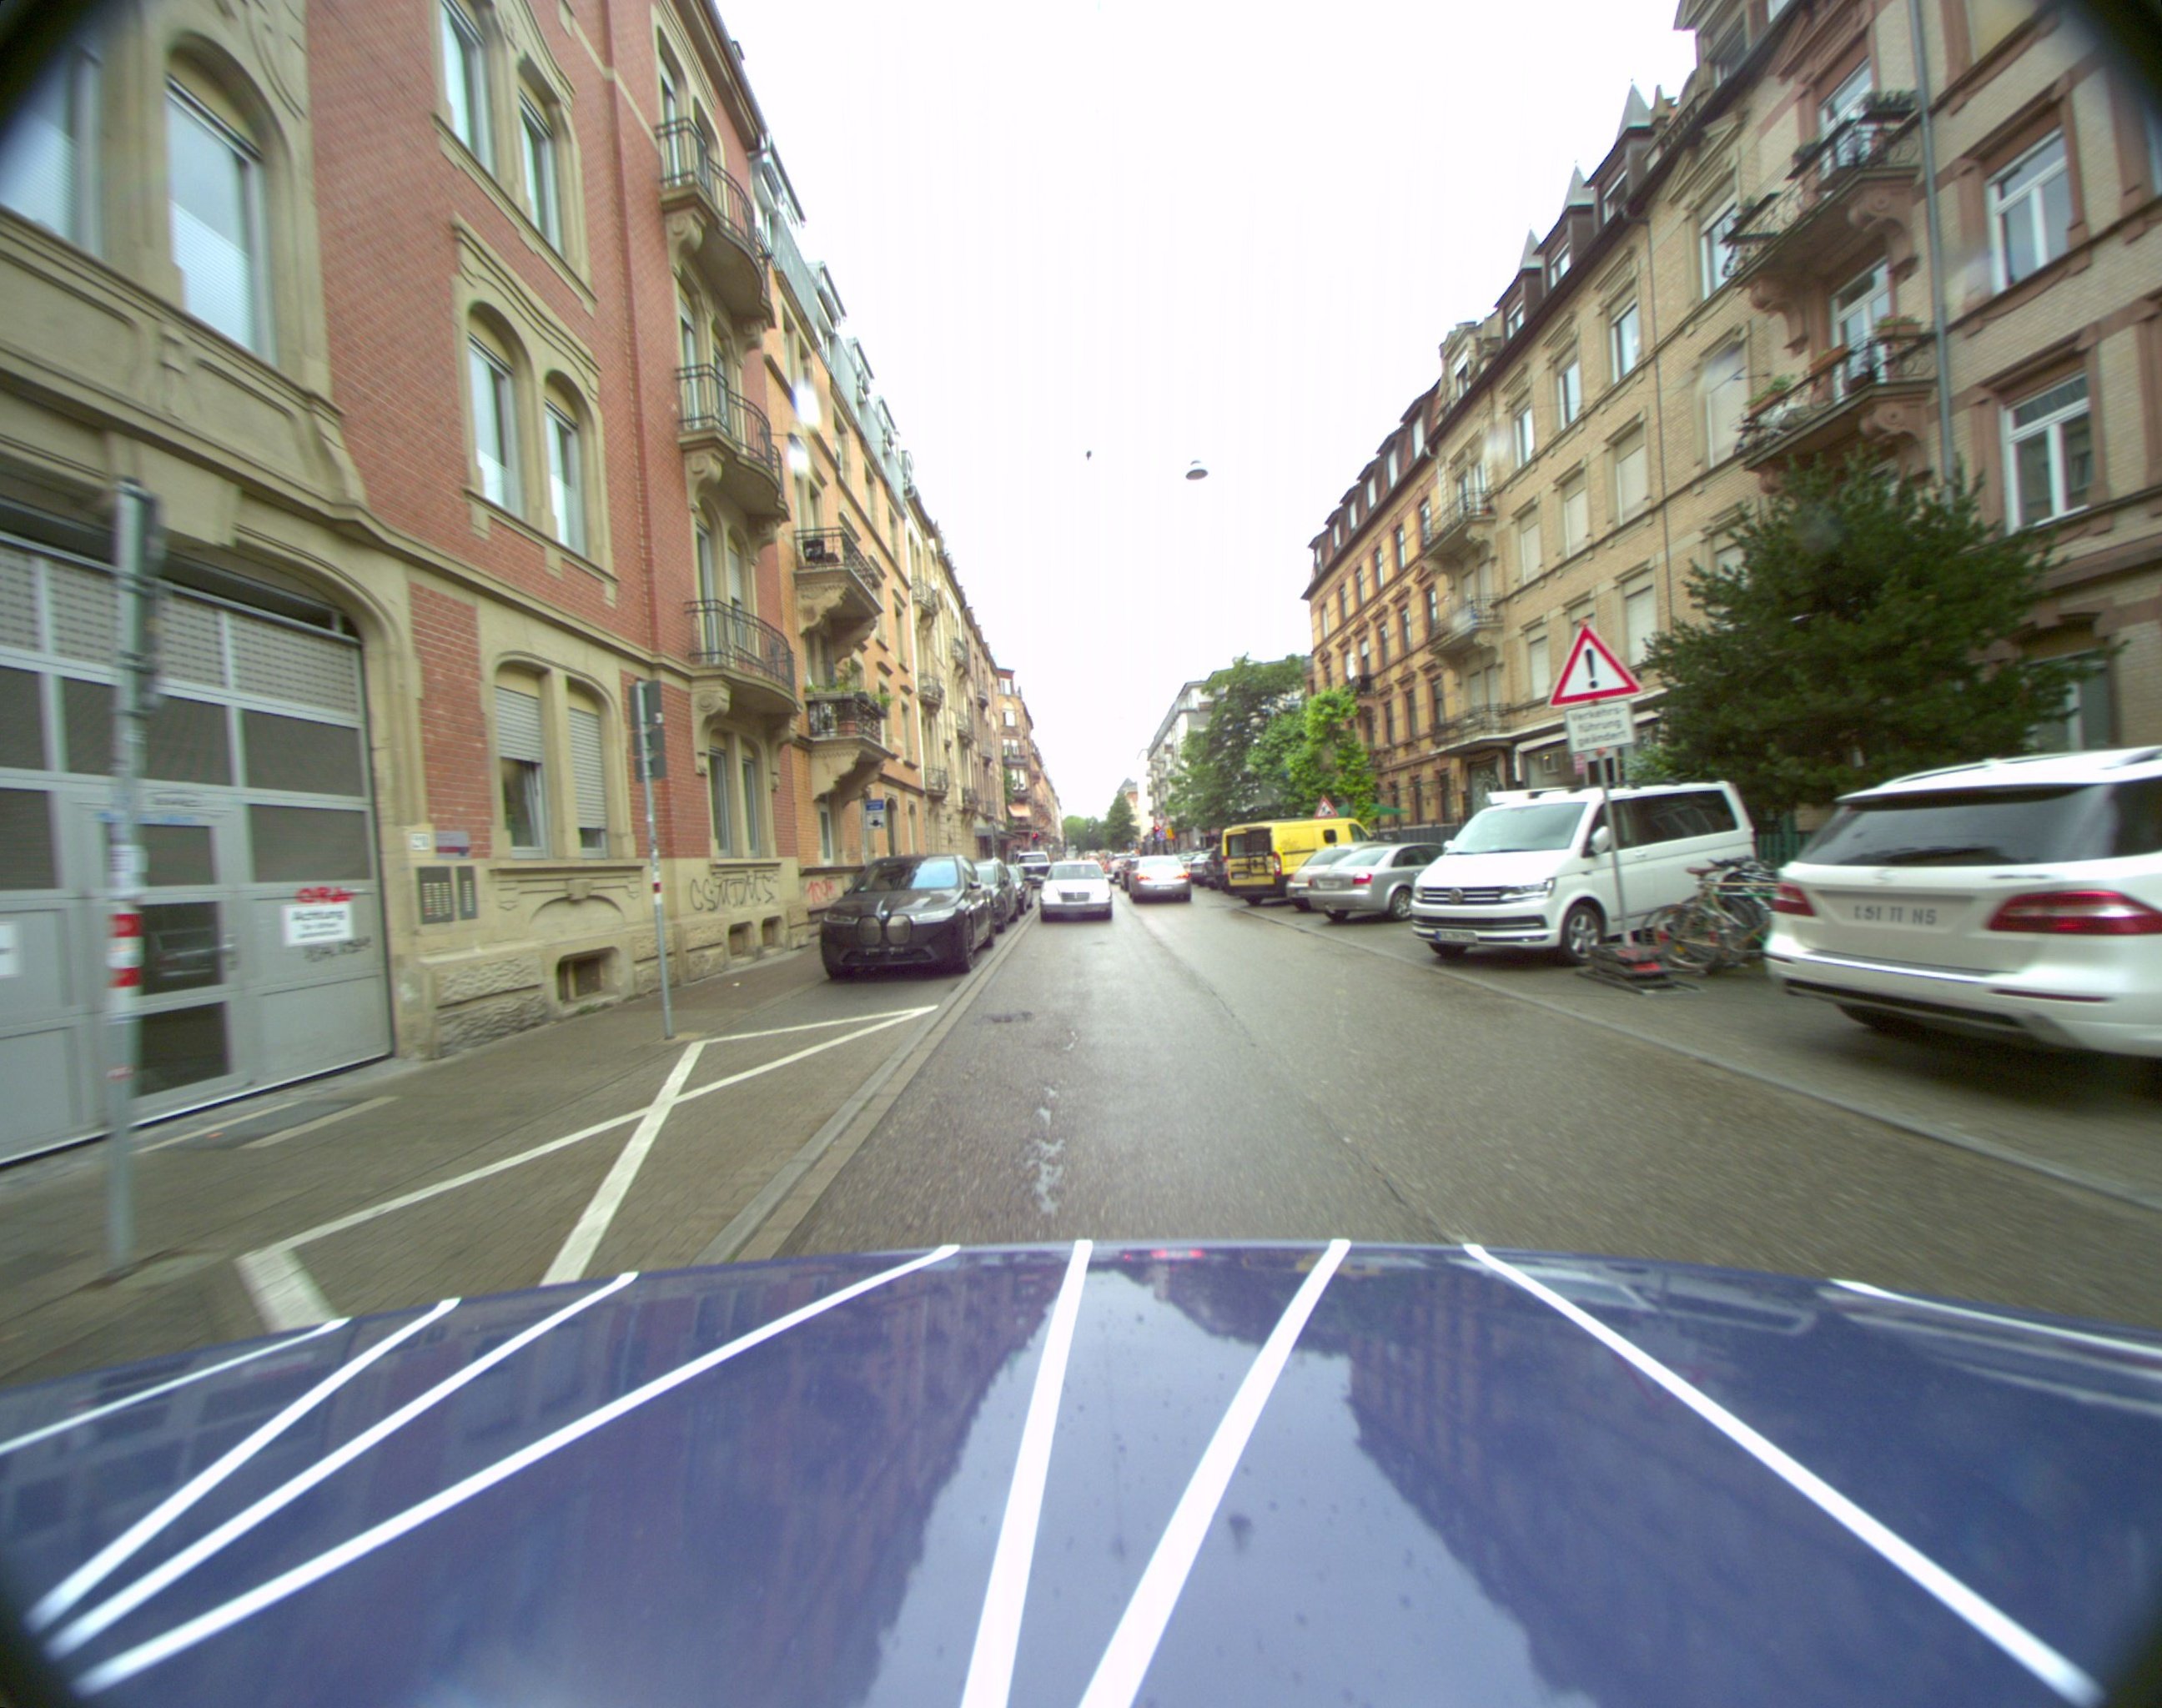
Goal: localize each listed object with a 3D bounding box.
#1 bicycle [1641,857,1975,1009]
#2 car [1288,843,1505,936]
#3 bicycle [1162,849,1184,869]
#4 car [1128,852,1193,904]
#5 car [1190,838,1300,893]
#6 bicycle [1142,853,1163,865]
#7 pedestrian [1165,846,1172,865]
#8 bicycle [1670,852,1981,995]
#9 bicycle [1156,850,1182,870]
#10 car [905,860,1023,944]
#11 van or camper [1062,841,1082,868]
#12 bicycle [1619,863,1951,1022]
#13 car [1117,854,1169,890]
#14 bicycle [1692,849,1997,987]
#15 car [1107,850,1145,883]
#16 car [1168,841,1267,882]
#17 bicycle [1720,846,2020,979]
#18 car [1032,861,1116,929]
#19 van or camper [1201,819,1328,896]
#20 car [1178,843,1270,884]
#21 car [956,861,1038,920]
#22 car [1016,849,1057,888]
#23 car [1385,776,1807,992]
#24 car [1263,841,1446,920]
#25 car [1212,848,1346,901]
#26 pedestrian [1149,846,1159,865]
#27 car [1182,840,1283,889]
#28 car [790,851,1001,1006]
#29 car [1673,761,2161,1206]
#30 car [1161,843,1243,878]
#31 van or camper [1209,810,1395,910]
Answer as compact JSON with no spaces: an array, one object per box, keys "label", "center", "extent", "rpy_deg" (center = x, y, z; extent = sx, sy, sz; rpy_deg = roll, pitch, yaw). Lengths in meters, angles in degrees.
[{"label":"bicycle","center":[6.581,0.663,7.053],"extent":[0.545,1.177,2.124],"rpy_deg":[-4,0,-30]},{"label":"car","center":[6.289,0.630,15.096],"extent":[4.005,1.427,1.781],"rpy_deg":[-4,1,-28]},{"label":"bicycle","center":[5.482,0.289,45.457],"extent":[0.400,1.137,1.679],"rpy_deg":[-5,1,-25]},{"label":"car","center":[2.568,0.773,25.504],"extent":[1.799,1.485,4.584],"rpy_deg":[-4,-1,2]},{"label":"car","center":[6.469,0.415,29.779],"extent":[4.143,1.653,1.797],"rpy_deg":[-7,3,-36]},{"label":"bicycle","center":[7.231,0.537,77.146],"extent":[1.896,1.028,0.661],"rpy_deg":[-6,0,-14]},{"label":"pedestrian","center":[8.782,0.171,76.178],"extent":[0.604,1.837,0.770],"rpy_deg":[-4,0,9]},{"label":"bicycle","center":[7.030,0.616,7.332],"extent":[0.483,1.168,2.040],"rpy_deg":[-4,0,-30]},{"label":"bicycle","center":[5.253,0.385,45.533],"extent":[0.588,1.137,1.679],"rpy_deg":[-5,1,-28]},{"label":"car","center":[-2.500,0.981,17.355],"extent":[1.876,1.552,4.345],"rpy_deg":[-2,0,1]},{"label":"van or camper","center":[-1.258,0.090,104.158],"extent":[2.411,3.308,7.072],"rpy_deg":[-4,0,-1]},{"label":"bicycle","center":[6.094,0.706,6.751],"extent":[0.545,1.168,2.040],"rpy_deg":[-4,0,-30]},{"label":"car","center":[2.689,0.817,33.792],"extent":[1.800,1.484,4.138],"rpy_deg":[1,-1,-2]},{"label":"bicycle","center":[7.498,0.591,7.608],"extent":[0.545,1.168,2.040],"rpy_deg":[-4,0,-30]},{"label":"car","center":[2.519,0.666,43.302],"extent":[1.863,1.650,5.008],"rpy_deg":[-3,0,1]},{"label":"car","center":[6.976,0.384,38.591],"extent":[4.731,1.554,1.996],"rpy_deg":[-6,0,-34]},{"label":"bicycle","center":[7.918,0.560,7.772],"extent":[0.408,1.168,2.040],"rpy_deg":[-4,0,-30]},{"label":"car","center":[-0.094,0.969,20.135],"extent":[1.859,1.390,4.980],"rpy_deg":[-4,0,2]},{"label":"van or camper","center":[6.558,0.091,27.050],"extent":[4.089,2.227,1.932],"rpy_deg":[-7,3,-32]},{"label":"car","center":[6.815,0.443,35.962],"extent":[4.143,1.485,1.797],"rpy_deg":[-7,3,-35]},{"label":"car","center":[-2.378,1.007,22.582],"extent":[1.791,1.458,4.484],"rpy_deg":[-3,0,1]},{"label":"car","center":[-2.410,0.746,41.956],"extent":[1.999,1.927,5.228],"rpy_deg":[-2,0,-2]},{"label":"car","center":[6.588,0.212,9.620],"extent":[5.258,2.066,1.866],"rpy_deg":[-4,1,-24]},{"label":"car","center":[6.491,0.574,17.995],"extent":[3.924,1.486,1.959],"rpy_deg":[-4,1,-30]},{"label":"car","center":[6.353,0.618,24.271],"extent":[4.006,1.486,1.823],"rpy_deg":[-2,0,-32]},{"label":"pedestrian","center":[7.425,0.128,77.227],"extent":[0.862,1.837,0.770],"rpy_deg":[-4,0,9]},{"label":"car","center":[6.602,0.446,32.941],"extent":[4.143,1.652,1.797],"rpy_deg":[-7,2,-36]},{"label":"car","center":[-2.488,0.881,11.568],"extent":[1.999,1.769,4.825],"rpy_deg":[-3,0,-1]},{"label":"car","center":[6.674,0.343,4.270],"extent":[4.590,1.775,2.545],"rpy_deg":[-6,0,0]},{"label":"car","center":[6.952,0.338,43.410],"extent":[4.464,1.555,1.995],"rpy_deg":[-6,3,-36]},{"label":"van or camper","center":[6.159,0.141,21.038],"extent":[4.733,2.254,2.180],"rpy_deg":[-6,0,-32]}]
